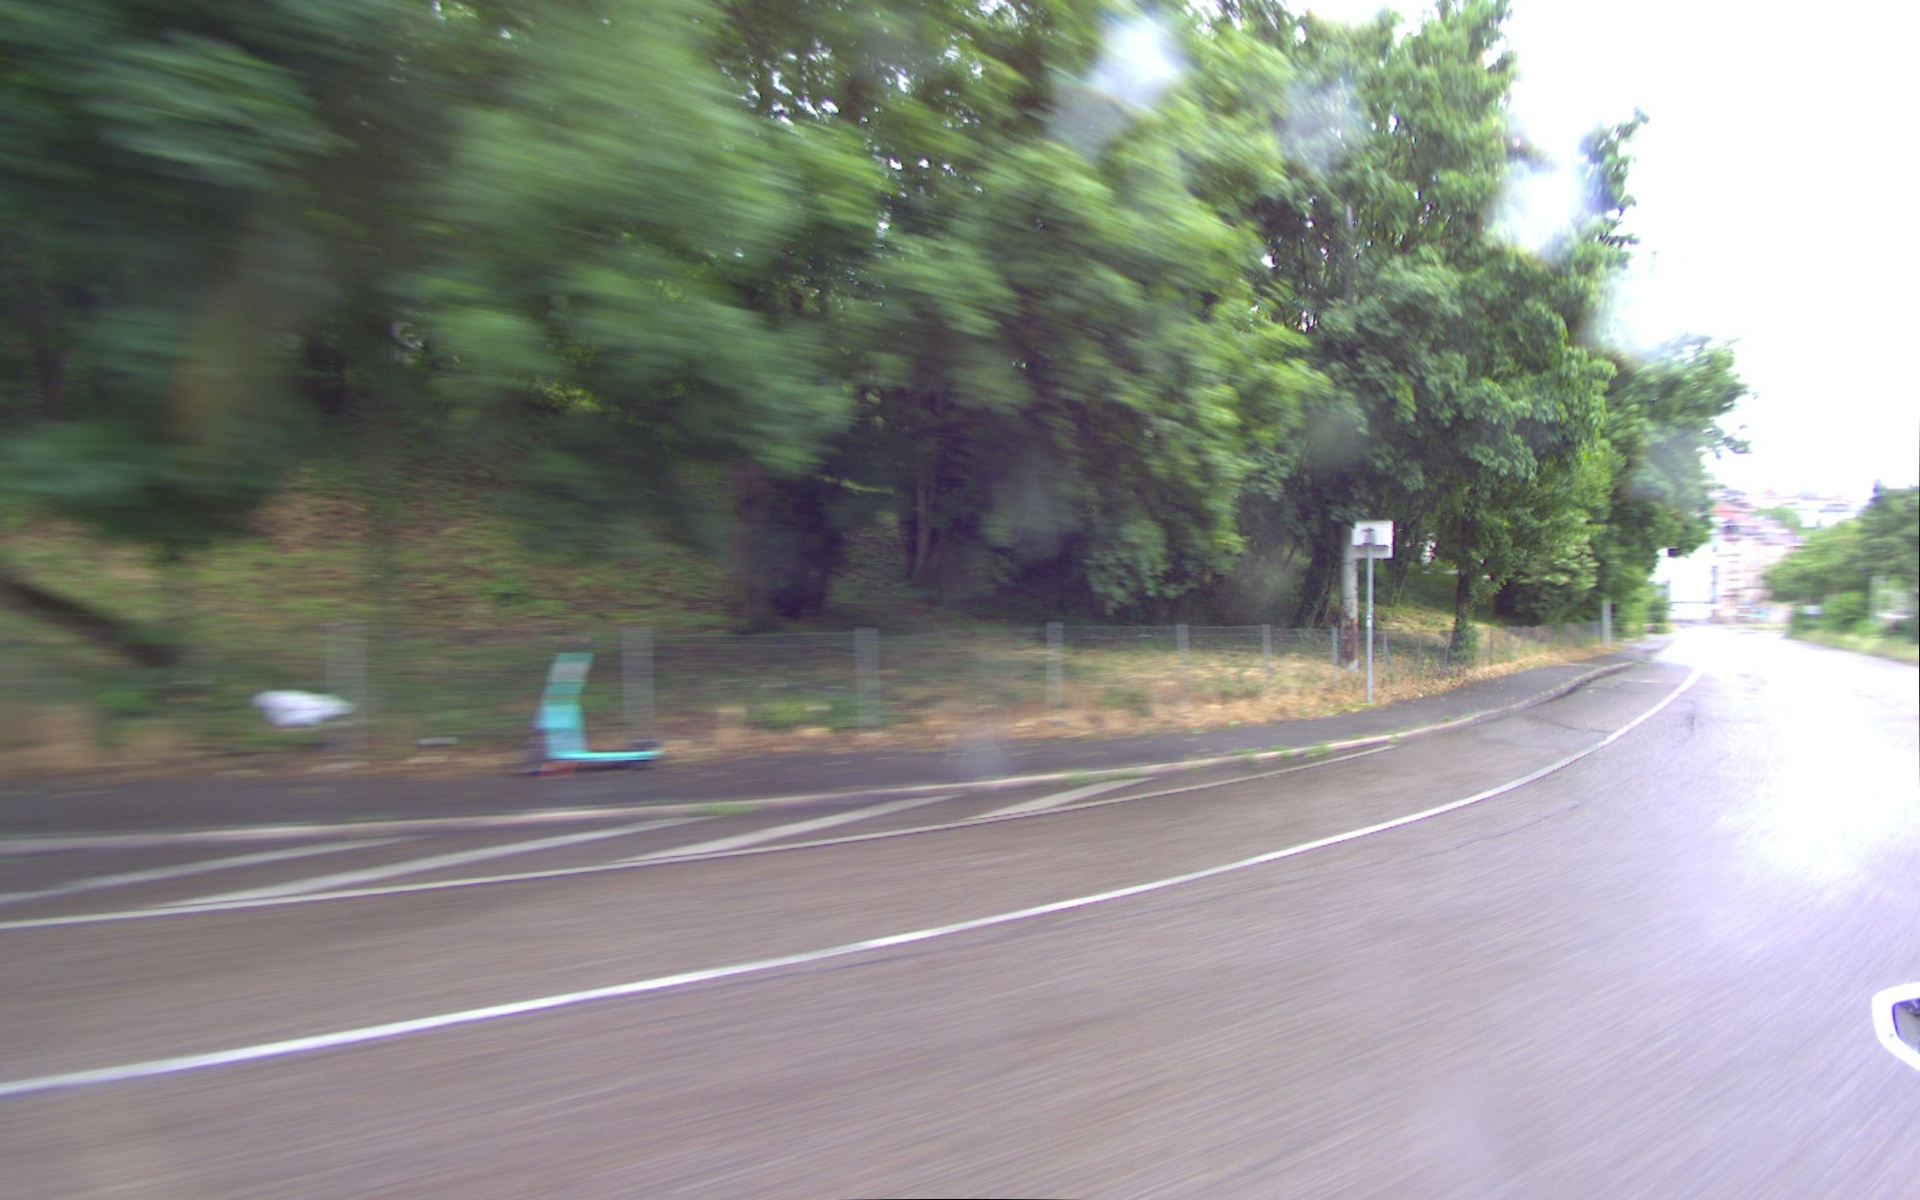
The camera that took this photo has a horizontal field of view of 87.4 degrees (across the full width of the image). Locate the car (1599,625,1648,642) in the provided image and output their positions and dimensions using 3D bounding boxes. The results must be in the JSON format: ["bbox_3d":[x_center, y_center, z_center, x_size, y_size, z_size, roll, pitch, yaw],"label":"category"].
[{"bbox_3d":[60.817,3.074,92.065,3.587,1.426,1.776,2,0,39],"label":"car"}]

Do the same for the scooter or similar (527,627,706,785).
[{"bbox_3d":[-3.051,0.930,8.985,1.415,1.285,0.607,2,3,-19],"label":"scooter or similar"}]

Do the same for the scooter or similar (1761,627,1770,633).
[{"bbox_3d":[114.509,4.229,142.823,1.312,0.771,0.483,2,0,-25],"label":"scooter or similar"}]
